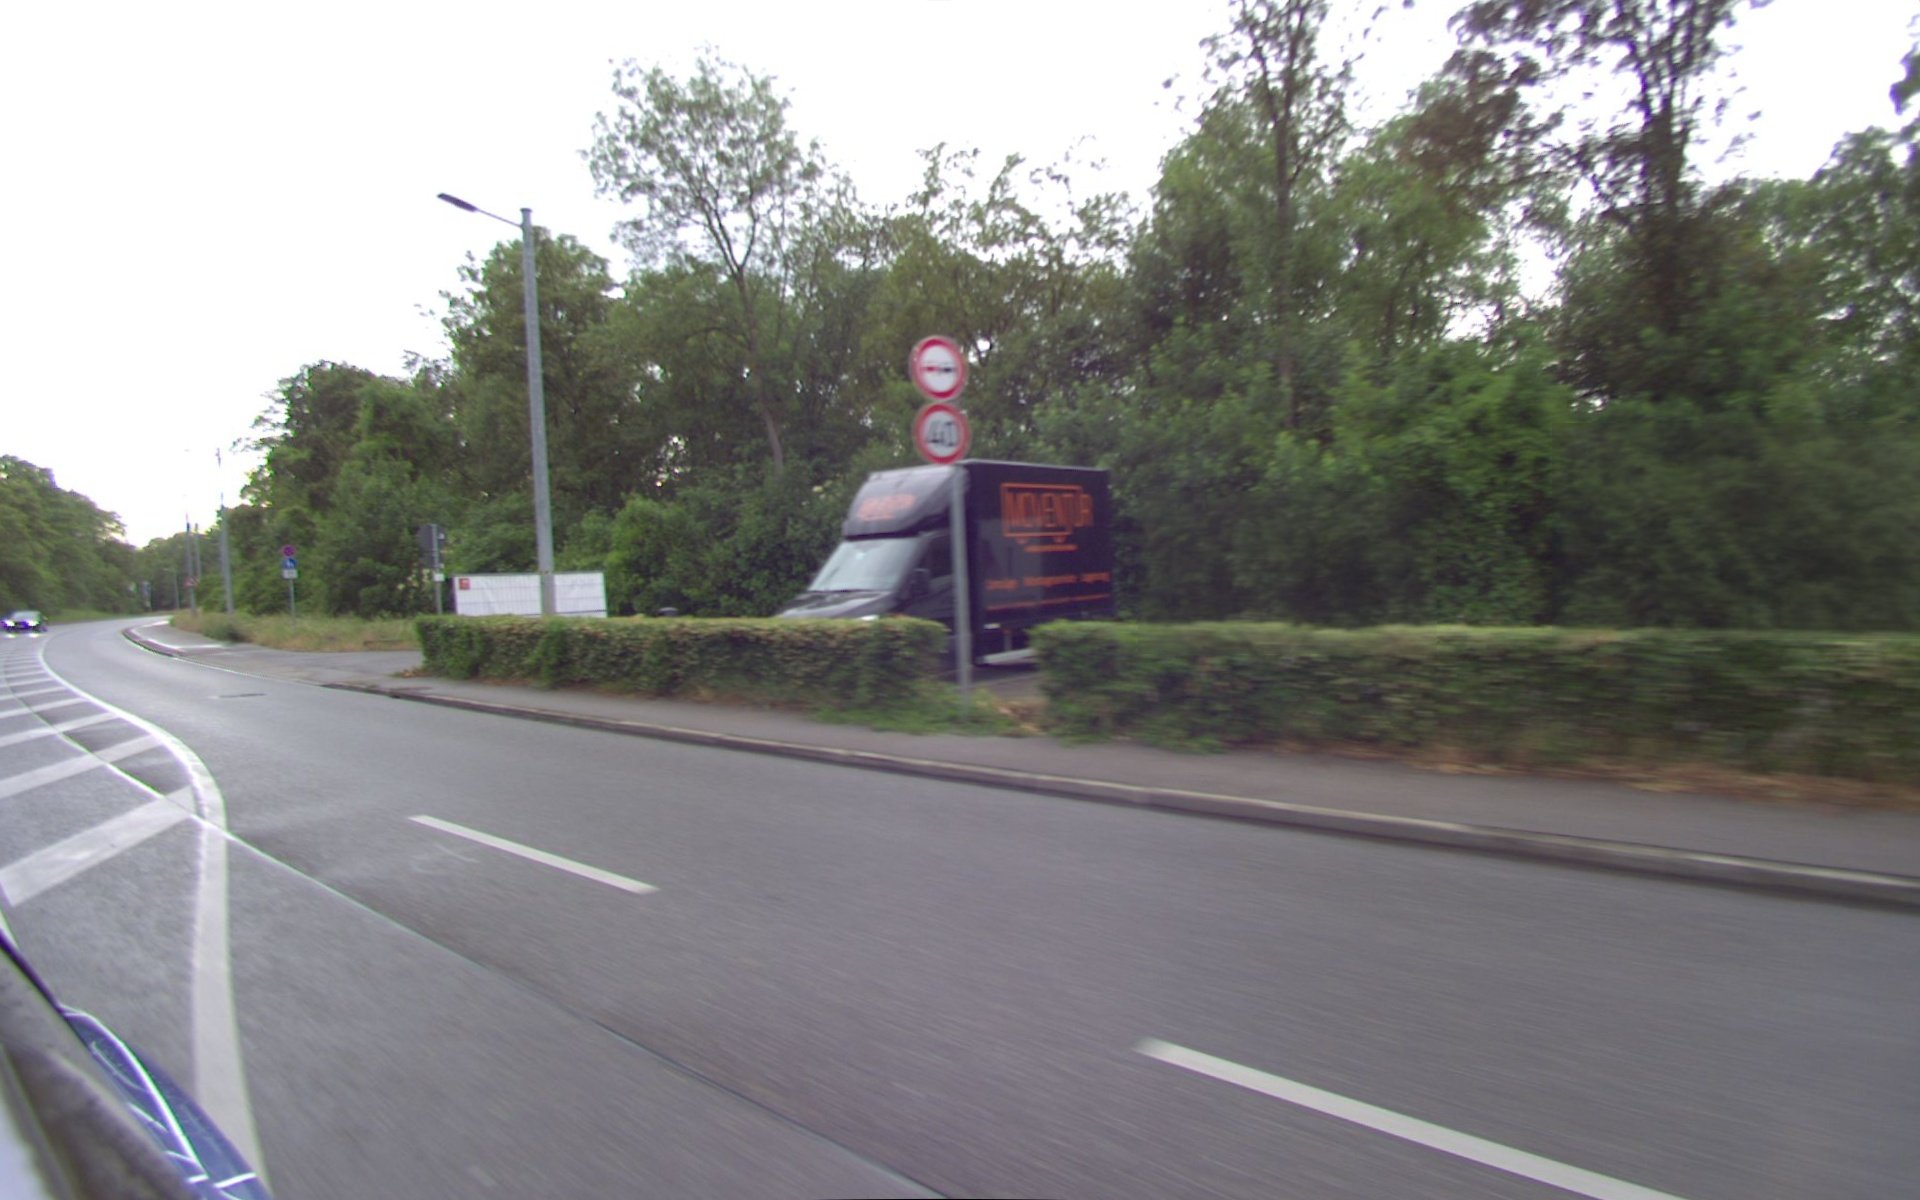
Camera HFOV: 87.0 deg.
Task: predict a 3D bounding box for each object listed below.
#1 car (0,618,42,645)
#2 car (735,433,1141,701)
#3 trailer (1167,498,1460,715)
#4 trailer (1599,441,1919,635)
[{"bbox_3d":[-64.768,2.151,69.799,1.968,1.696,4.007,-1,0,-39],"label":"car"},{"bbox_3d":[-0.006,-0.477,15.185,2.748,3.136,6.213,0,2,38],"label":"car"},{"bbox_3d":[4.236,0.036,11.763,1.872,2.068,3.946,-1,0,41],"label":"trailer"},{"bbox_3d":[15.028,-0.945,16.135,7.966,2.895,2.452,-1,0,38],"label":"trailer"}]
